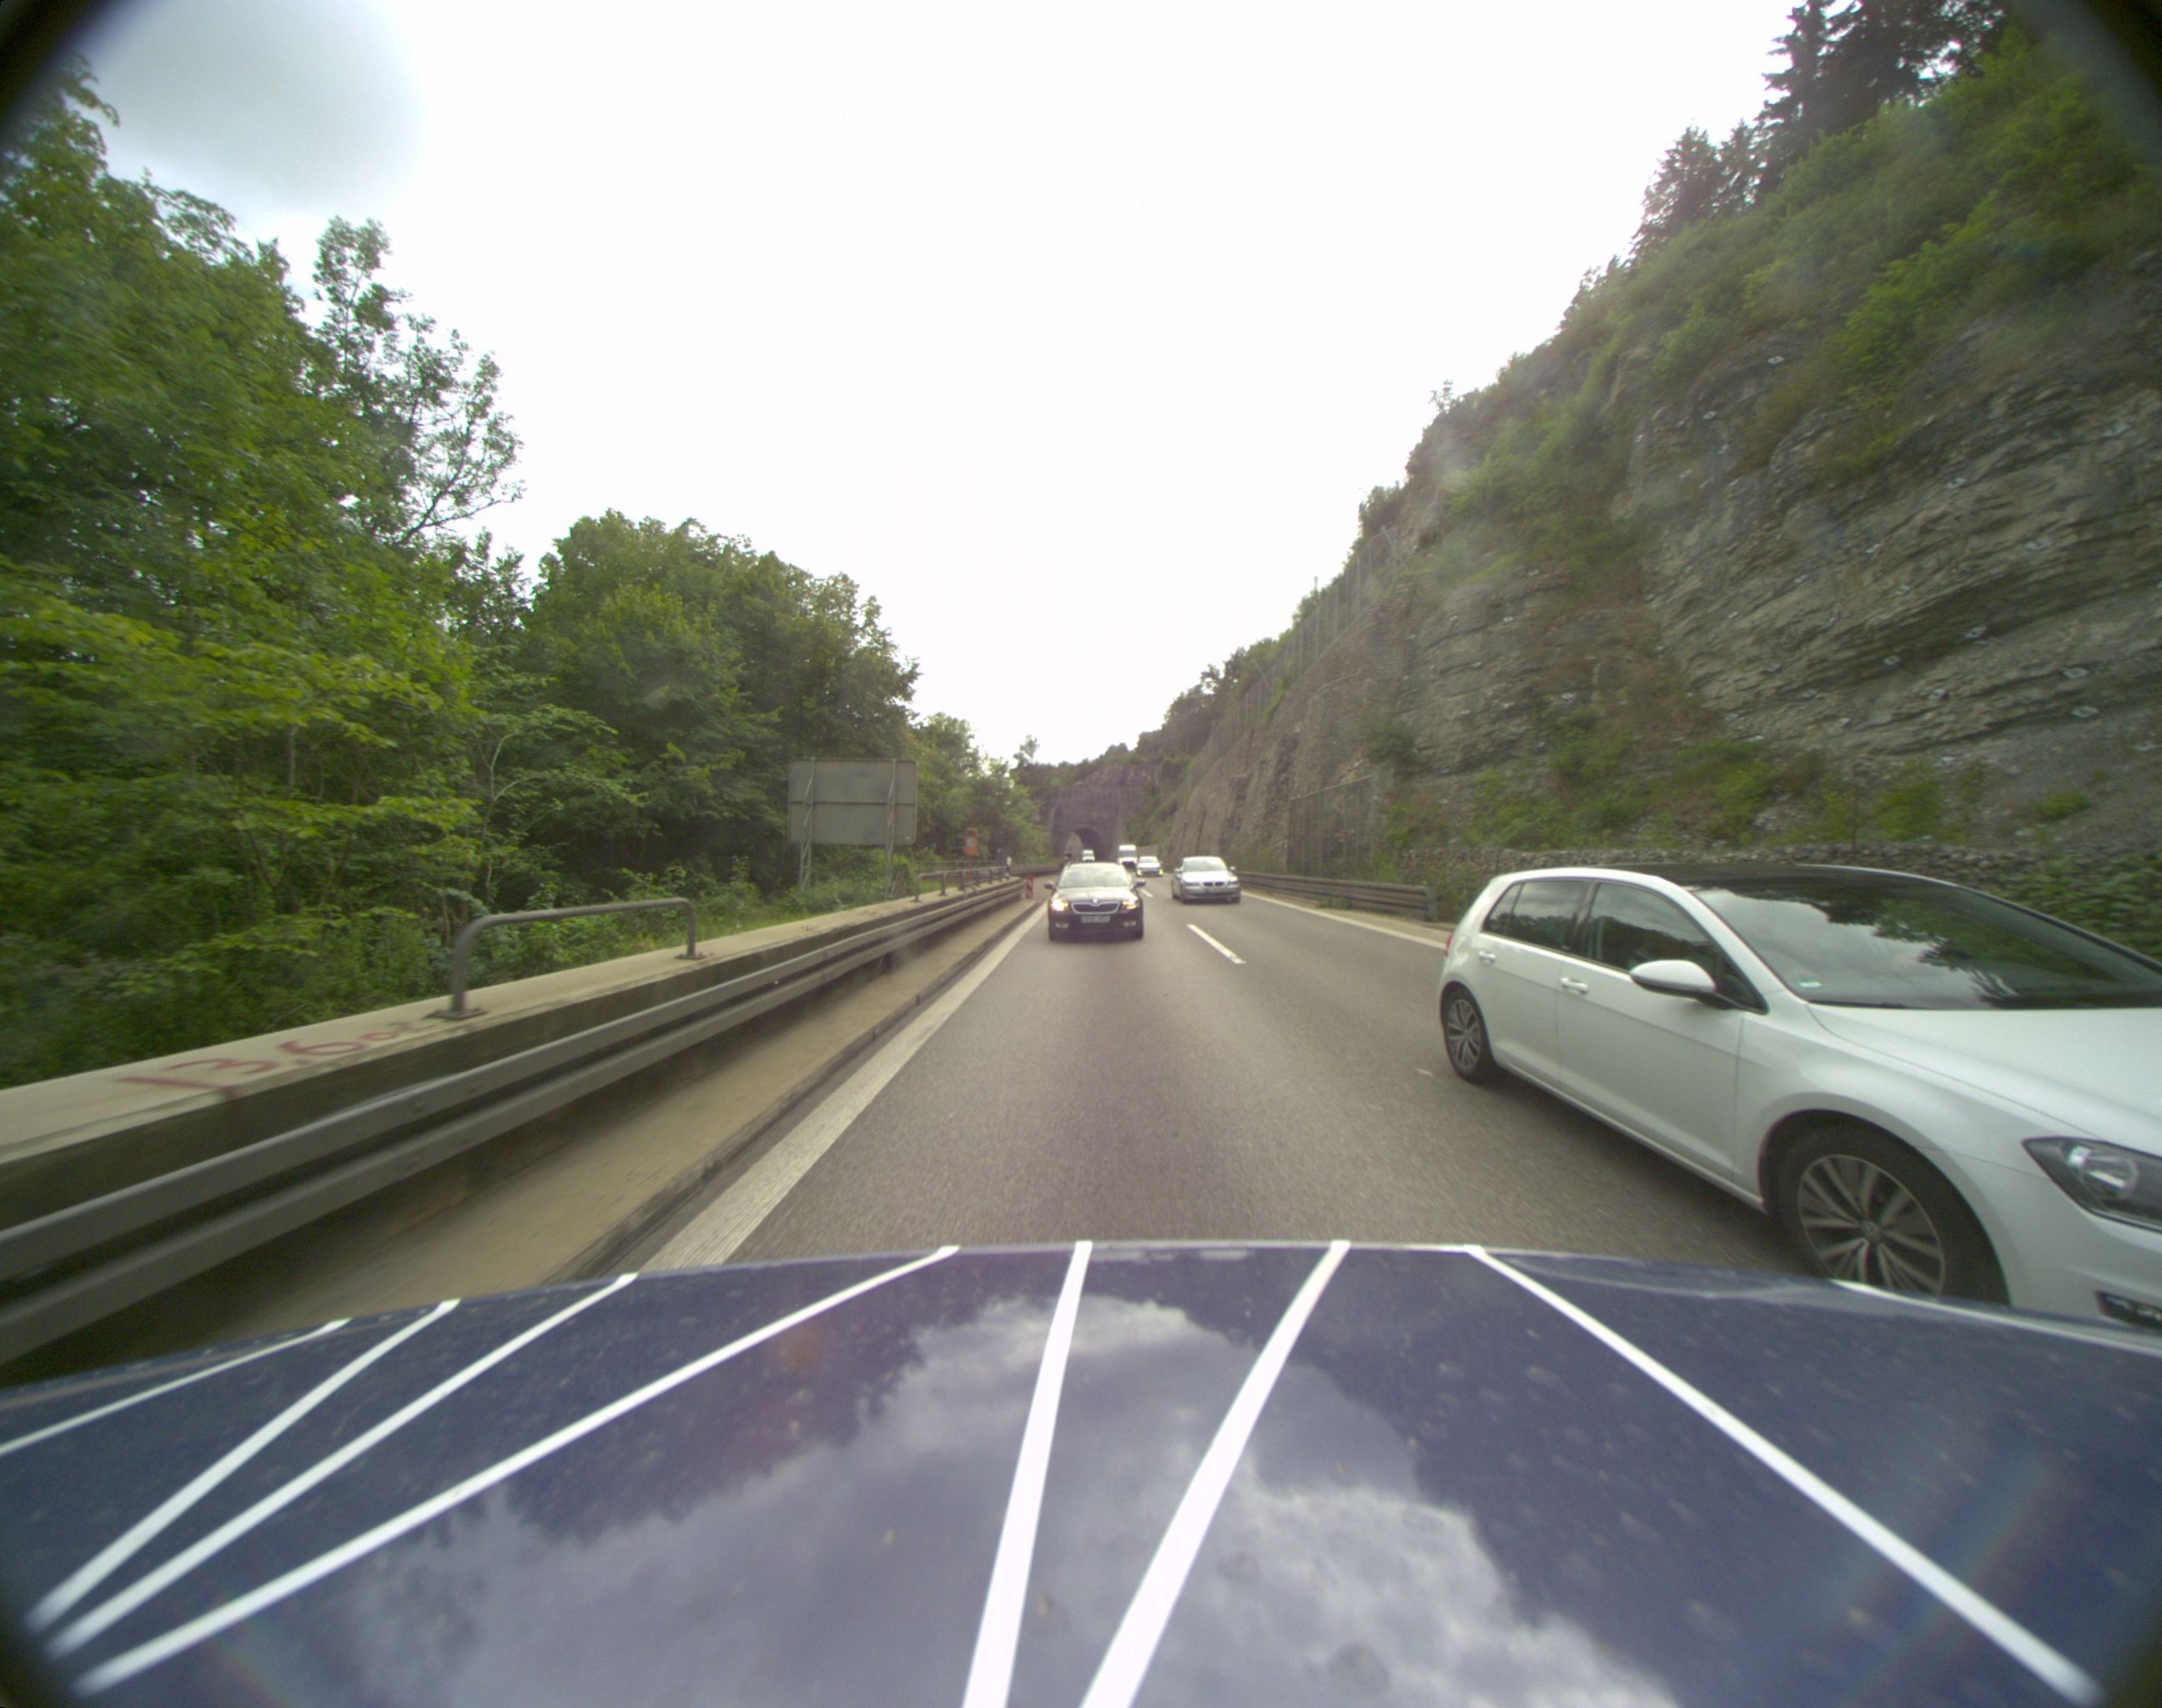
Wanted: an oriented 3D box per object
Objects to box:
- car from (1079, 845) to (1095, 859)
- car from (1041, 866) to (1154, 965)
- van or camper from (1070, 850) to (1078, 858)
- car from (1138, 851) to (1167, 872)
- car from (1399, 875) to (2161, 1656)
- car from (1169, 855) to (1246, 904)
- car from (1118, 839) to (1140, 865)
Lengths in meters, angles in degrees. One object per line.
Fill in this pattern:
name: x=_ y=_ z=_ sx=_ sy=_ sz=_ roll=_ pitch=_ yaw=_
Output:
car: x=1.068 y=-0.392 z=140.074 sx=2.674 sy=2.408 sz=6.119 roll=-1 pitch=0 yaw=-2
car: x=0.294 y=0.966 z=13.823 sx=1.677 sy=1.418 sz=4.473 roll=-1 pitch=0 yaw=1
van or camper: x=-1.762 y=-0.051 z=192.961 sx=1.999 sy=2.002 sz=3.999 roll=-1 pitch=0 yaw=-1
car: x=5.218 y=0.529 z=55.887 sx=1.922 sy=1.452 sz=4.231 roll=-1 pitch=0 yaw=3
car: x=3.293 y=0.940 z=3.498 sx=1.849 sy=1.473 sz=4.628 roll=-1 pitch=1 yaw=2
car: x=4.104 y=0.775 z=25.493 sx=1.832 sy=1.448 sz=5.135 roll=-1 pitch=0 yaw=1
car: x=4.717 y=-0.249 z=75.571 sx=1.868 sy=2.444 sz=4.982 roll=-1 pitch=2 yaw=0
